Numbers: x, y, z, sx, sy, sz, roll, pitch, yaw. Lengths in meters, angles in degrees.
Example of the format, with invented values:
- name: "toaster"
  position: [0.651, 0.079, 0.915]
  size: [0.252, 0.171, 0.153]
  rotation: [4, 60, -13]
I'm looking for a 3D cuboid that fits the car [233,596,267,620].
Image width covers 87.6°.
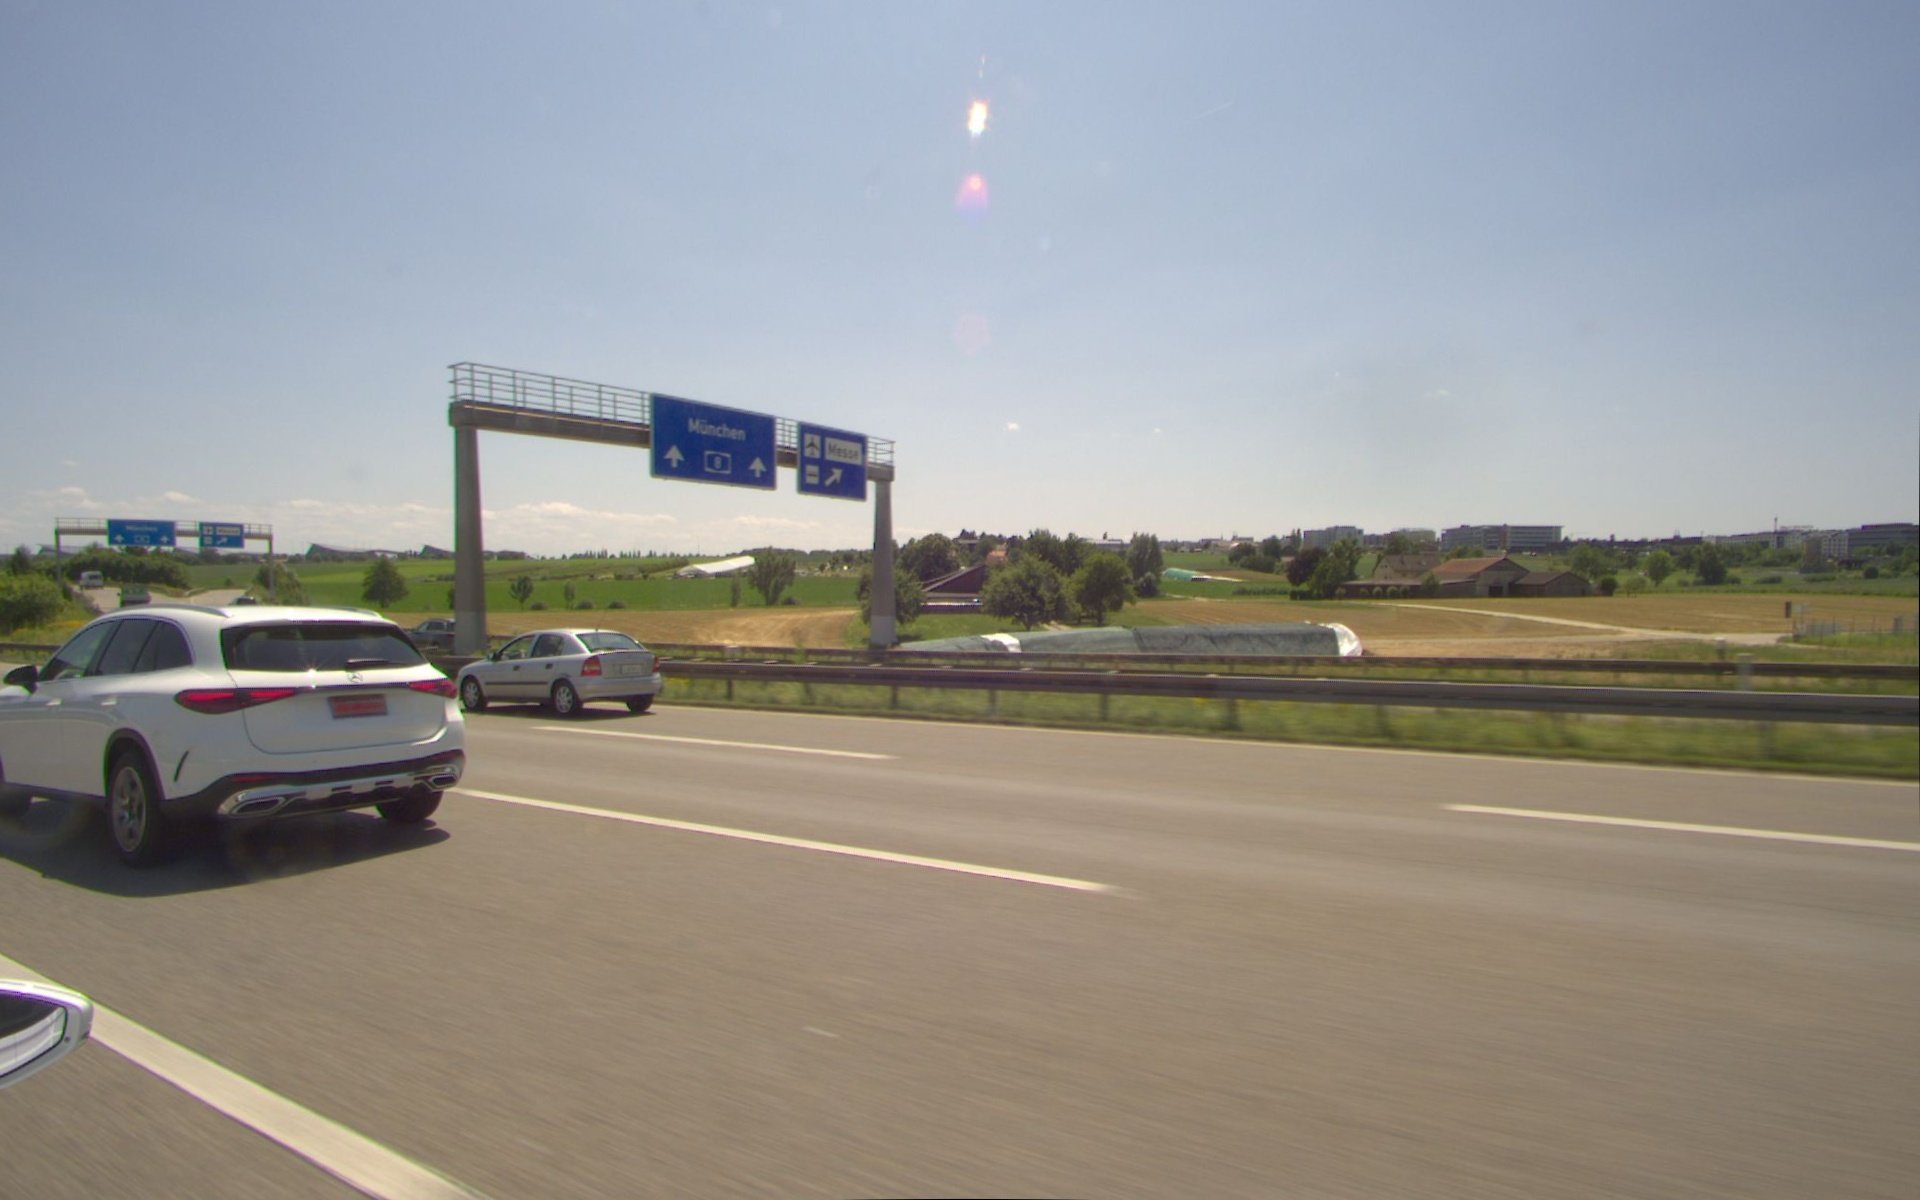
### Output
- name: "car"
  position: [-60.941, 0.700, 85.898]
  size: [1.925, 1.948, 4.141]
  rotation: [0, -2, -42]

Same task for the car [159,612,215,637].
- name: "car"
  position: [-52.202, 1.648, 67.591]
  size: [3.947, 1.616, 1.988]
  rotation: [-1, -1, 36]

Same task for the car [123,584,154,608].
- name: "car"
  position: [-75.884, -0.350, 92.501]
  size: [1.975, 2.039, 3.972]
  rotation: [0, -1, -36]

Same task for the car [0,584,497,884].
- name: "car"
  position: [-5.910, 0.809, 7.669]
  size: [4.926, 1.668, 1.895]
  rotation: [-1, -1, 32]

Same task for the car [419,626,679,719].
- name: "car"
  position: [-7.349, 1.203, 17.755]
  size: [4.776, 1.456, 1.783]
  rotation: [-1, -1, 31]

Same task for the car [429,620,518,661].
- name: "car"
  position: [-19.913, 1.649, 40.937]
  size: [4.077, 1.595, 1.693]
  rotation: [-1, -1, 38]

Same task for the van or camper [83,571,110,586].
- name: "van or camper"
  position: [-131.182, -3.295, 152.156]
  size: [4.410, 2.039, 2.517]
  rotation: [-2, -2, 41]

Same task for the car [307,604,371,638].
- name: "car"
  position: [-36.818, 1.245, 59.328]
  size: [4.128, 1.948, 1.932]
  rotation: [-1, -1, 38]
